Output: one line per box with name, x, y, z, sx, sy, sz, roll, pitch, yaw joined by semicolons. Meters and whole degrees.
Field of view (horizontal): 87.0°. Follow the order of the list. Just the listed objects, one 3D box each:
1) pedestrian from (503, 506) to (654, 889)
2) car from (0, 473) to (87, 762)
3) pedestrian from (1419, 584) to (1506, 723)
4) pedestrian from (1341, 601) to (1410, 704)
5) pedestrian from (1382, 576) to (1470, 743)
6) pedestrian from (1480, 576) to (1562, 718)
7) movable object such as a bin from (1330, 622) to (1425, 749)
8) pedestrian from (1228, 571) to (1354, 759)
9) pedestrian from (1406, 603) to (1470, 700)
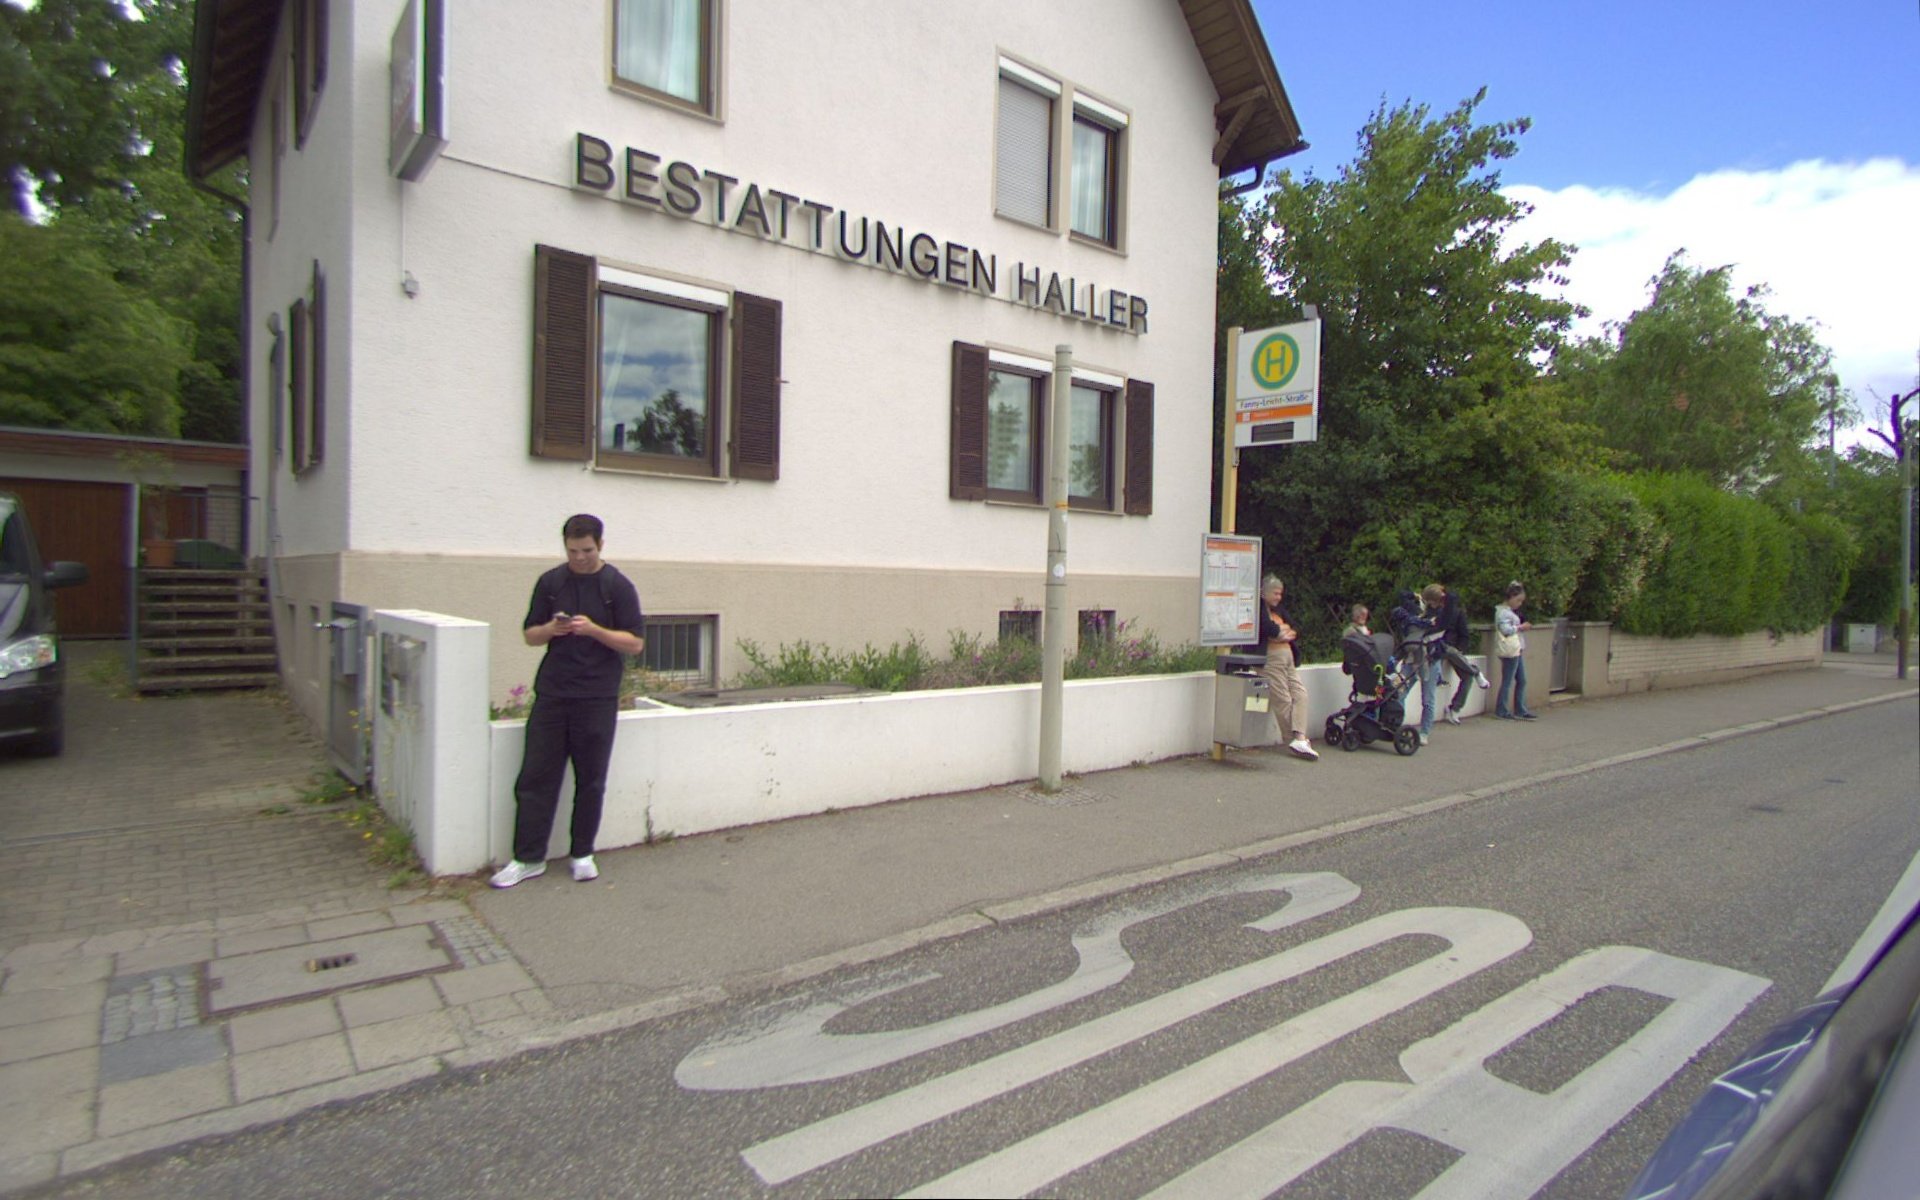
pedestrian;-1.811;0.436;4.862;0.575;1.732;0.531;1;3;-11
car;-7.759;0.013;7.352;1.858;1.810;3.990;0;2;-45
pedestrian;5.596;0.575;11.293;0.503;1.444;0.622;5;3;-1
pedestrian;4.187;0.519;10.208;0.454;0.976;0.377;8;4;44
pedestrian;4.511;0.561;9.812;0.354;1.535;0.552;3;3;-30
pedestrian;6.486;0.536;11.705;0.534;1.574;0.472;3;4;-30
movable object such as a bin;3.814;0.777;9.271;0.556;1.070;0.443;4;3;-13
pedestrian;2.898;0.534;8.876;0.595;1.518;0.780;1;3;-45
pedestrian;5.181;0.547;10.973;0.454;0.976;0.377;8;4;44
